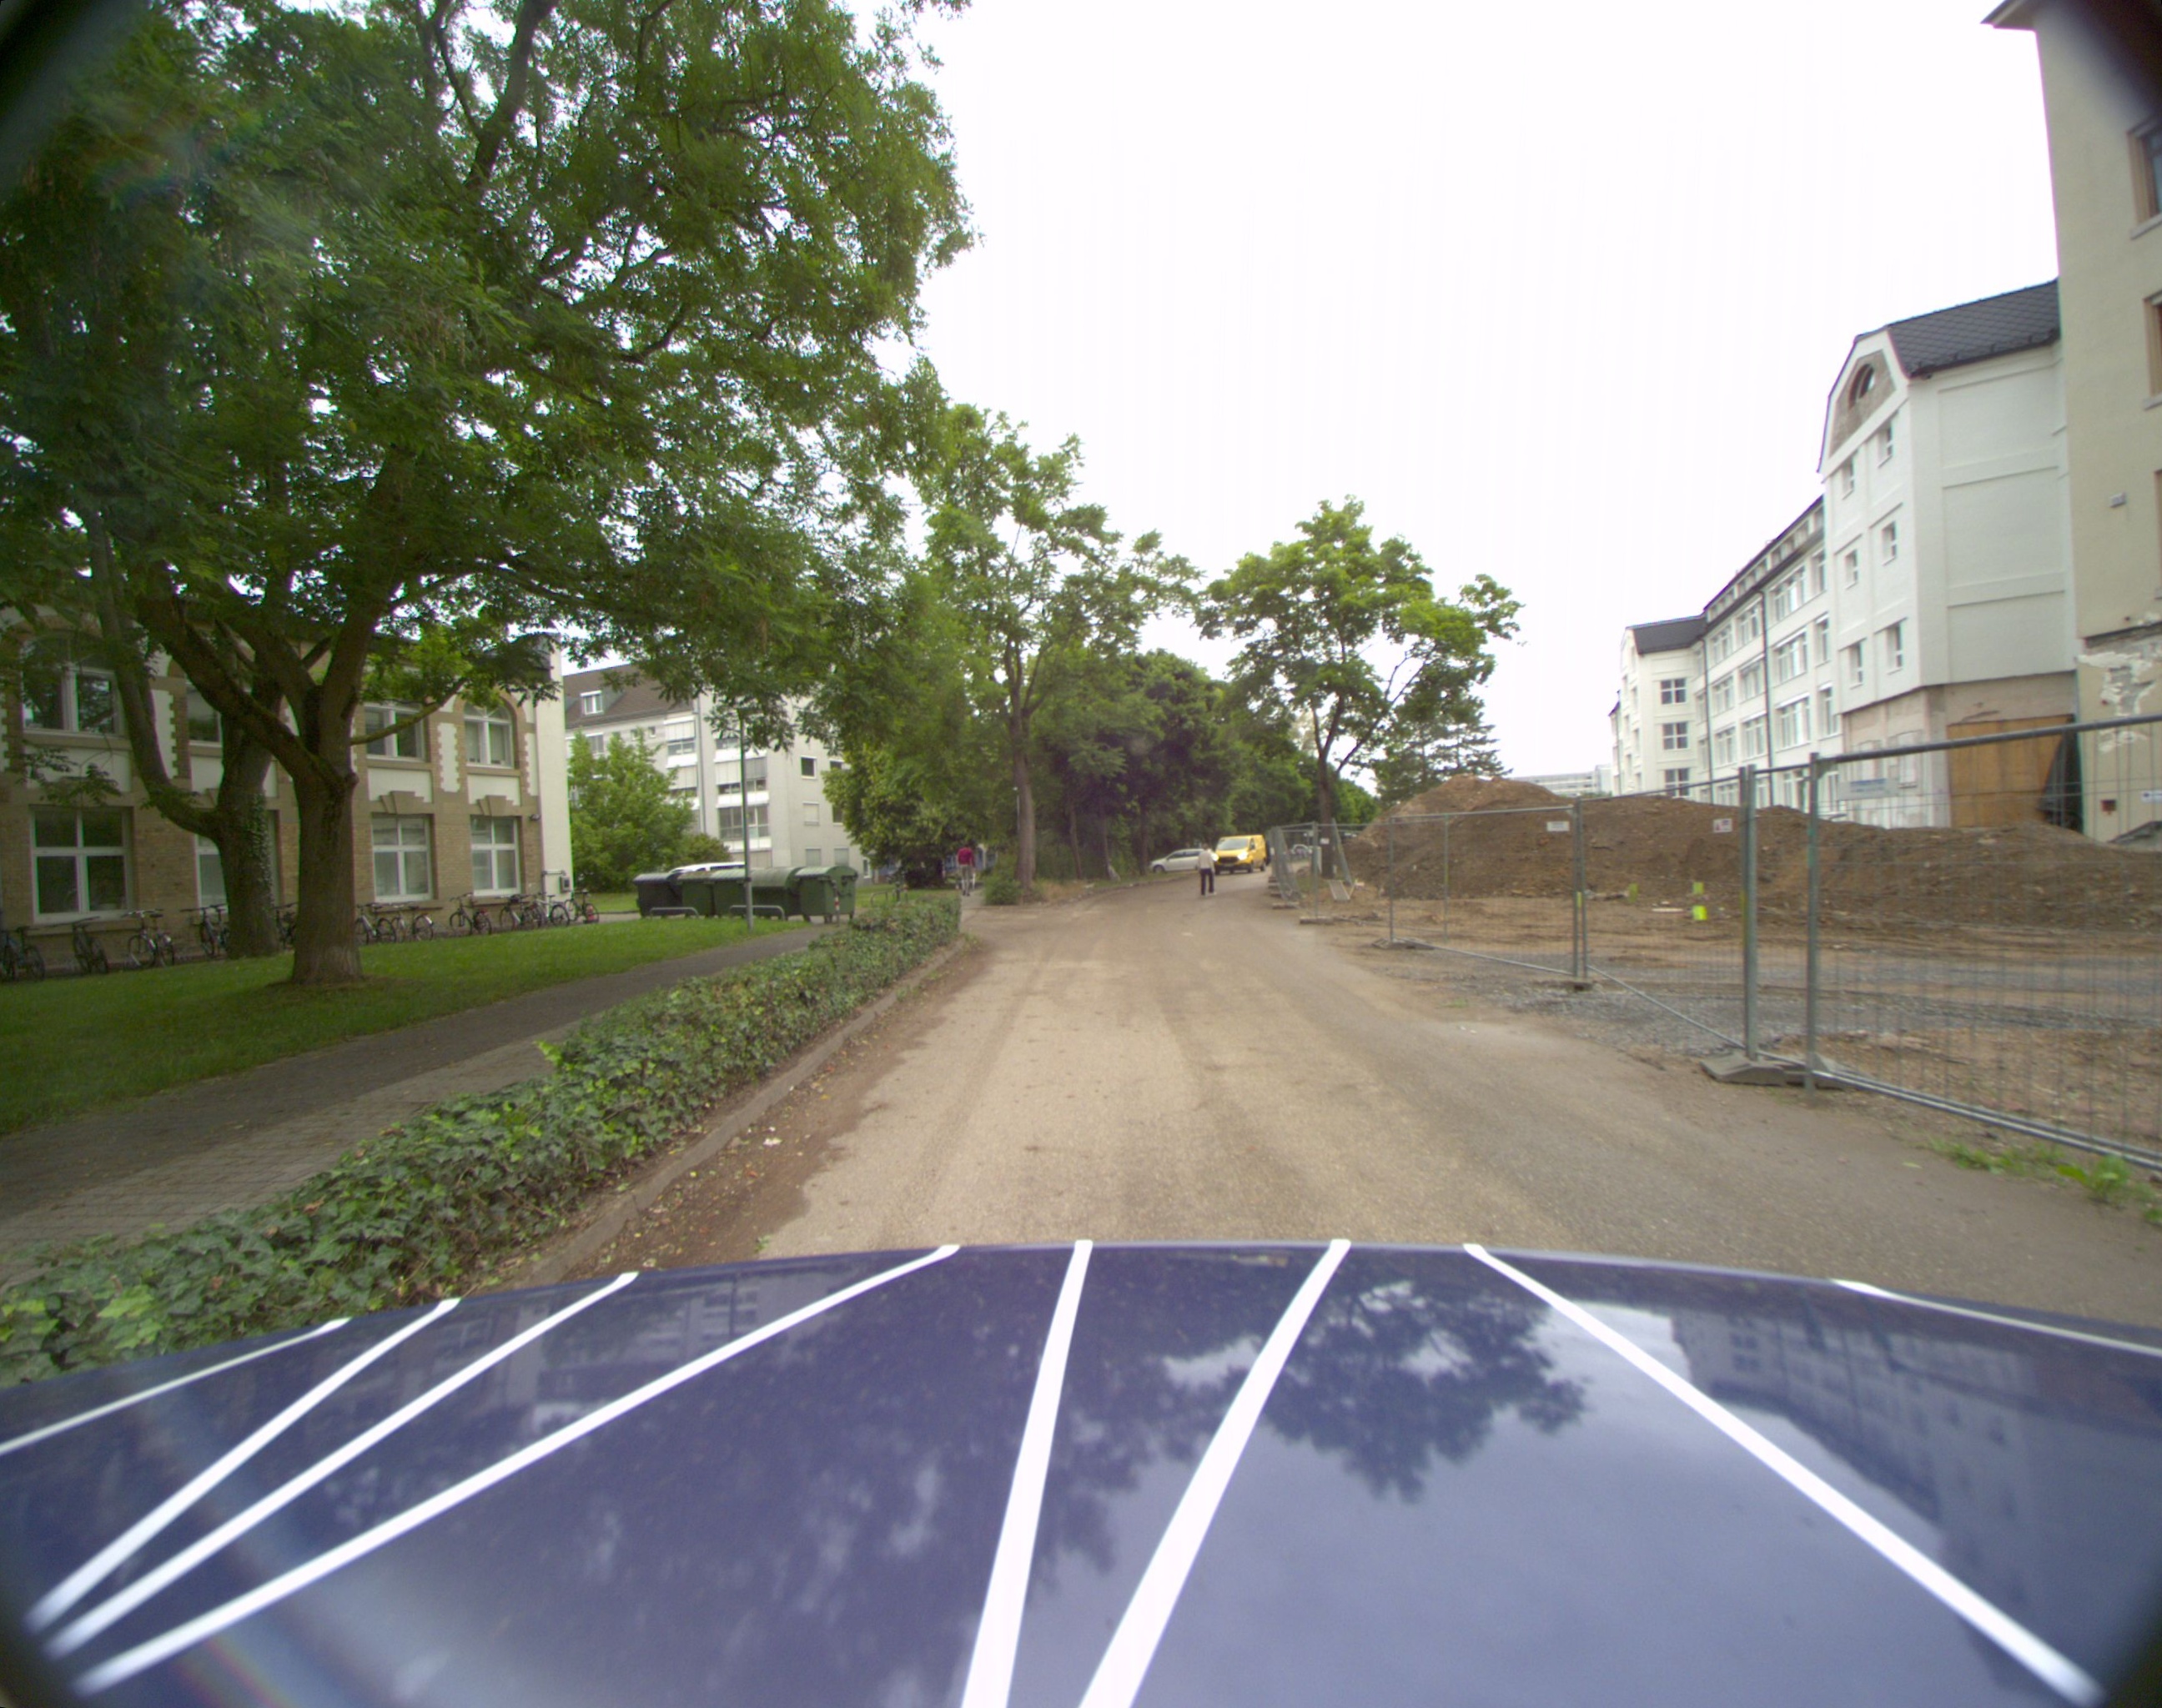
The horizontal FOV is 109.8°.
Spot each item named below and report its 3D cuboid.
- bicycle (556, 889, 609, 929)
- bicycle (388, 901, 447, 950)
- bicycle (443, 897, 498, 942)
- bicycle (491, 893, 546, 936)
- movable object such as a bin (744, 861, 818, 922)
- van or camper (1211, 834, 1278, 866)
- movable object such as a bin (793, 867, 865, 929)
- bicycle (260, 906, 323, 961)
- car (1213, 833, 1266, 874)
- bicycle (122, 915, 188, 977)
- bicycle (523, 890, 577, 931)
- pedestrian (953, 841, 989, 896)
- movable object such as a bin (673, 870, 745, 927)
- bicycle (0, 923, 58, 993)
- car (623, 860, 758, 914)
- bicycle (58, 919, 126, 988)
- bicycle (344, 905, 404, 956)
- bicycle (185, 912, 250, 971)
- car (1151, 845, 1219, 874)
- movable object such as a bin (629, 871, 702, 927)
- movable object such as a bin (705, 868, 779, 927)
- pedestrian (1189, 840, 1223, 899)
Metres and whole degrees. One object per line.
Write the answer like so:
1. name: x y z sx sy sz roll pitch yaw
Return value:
1. bicycle: -14.557 1.603 22.182 1.740 1.108 0.461 -2 1 28
2. bicycle: -16.232 1.734 18.567 1.740 1.108 0.461 -2 1 28
3. bicycle: -15.702 1.673 19.540 1.740 1.108 0.461 -2 1 30
4. bicycle: -15.349 1.648 20.718 1.740 1.108 0.461 -2 1 28
5. movable object such as a bin: -7.647 0.949 19.398 1.283 1.442 1.110 -3 1 22
6. van or camper: 12.401 -0.296 57.708 4.490 2.245 2.003 -2 1 27
7. movable object such as a bin: -6.249 1.071 18.844 1.272 1.426 1.074 -2 1 36
8. bicycle: -17.155 1.704 16.508 1.740 1.108 0.461 -2 1 28
9. car: 8.465 -0.037 40.242 2.121 2.002 4.005 -2 0 20
10. bicycle: -18.105 1.777 14.849 1.740 1.108 0.461 -2 1 28
11. bicycle: -14.977 1.587 21.418 1.740 1.108 0.461 -2 1 28
12. pedestrian: -4.215 0.550 29.200 0.793 2.052 1.203 -2 1 23
13. movable object such as a bin: -10.198 1.206 20.864 1.324 1.442 1.110 -3 1 22
14. bicycle: -18.758 1.817 13.468 1.740 1.108 0.461 -1 1 28
15. car: -16.589 1.360 32.546 1.897 1.862 4.781 -5 -1 28
16. bicycle: -18.295 1.816 14.054 1.740 1.108 0.461 0 2 28
17. bicycle: -16.589 1.777 17.823 1.740 1.108 0.461 -2 1 28
18. bicycle: -17.751 1.777 15.606 1.740 1.108 0.461 -2 1 28
19. car: 6.385 0.329 46.409 3.879 1.565 1.754 -2 1 15
20. movable object such as a bin: -11.653 1.261 21.356 1.359 1.442 1.110 -3 1 21
21. movable object such as a bin: -8.981 1.148 20.157 1.291 1.442 1.110 -3 1 22
22. pedestrian: 3.901 0.479 23.701 0.752 1.771 0.662 -3 1 -24
